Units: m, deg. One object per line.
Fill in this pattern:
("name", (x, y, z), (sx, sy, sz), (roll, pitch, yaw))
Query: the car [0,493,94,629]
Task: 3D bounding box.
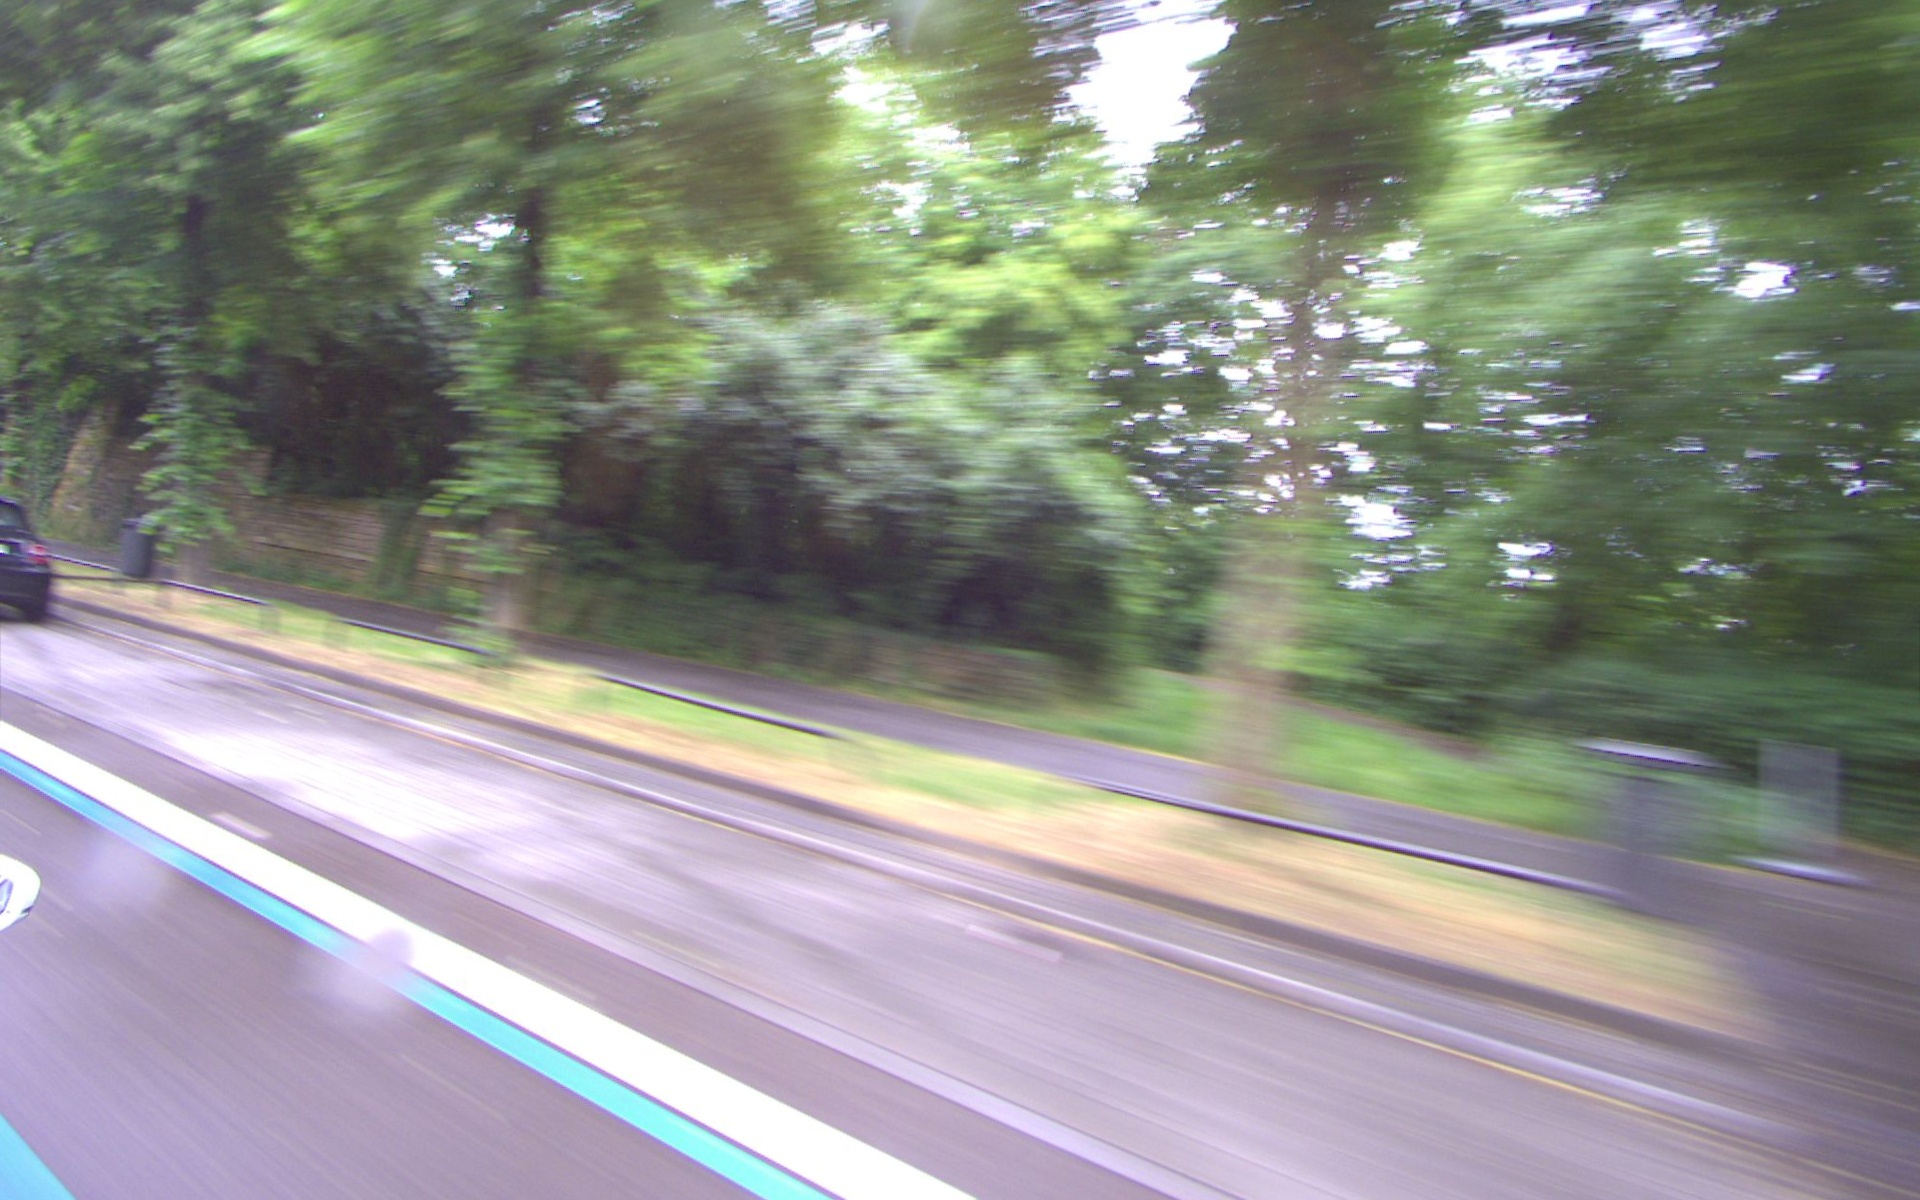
("car", (-13.087, -0.703, 12.741), (4.494, 1.521, 1.828), (7, 0, 31))
